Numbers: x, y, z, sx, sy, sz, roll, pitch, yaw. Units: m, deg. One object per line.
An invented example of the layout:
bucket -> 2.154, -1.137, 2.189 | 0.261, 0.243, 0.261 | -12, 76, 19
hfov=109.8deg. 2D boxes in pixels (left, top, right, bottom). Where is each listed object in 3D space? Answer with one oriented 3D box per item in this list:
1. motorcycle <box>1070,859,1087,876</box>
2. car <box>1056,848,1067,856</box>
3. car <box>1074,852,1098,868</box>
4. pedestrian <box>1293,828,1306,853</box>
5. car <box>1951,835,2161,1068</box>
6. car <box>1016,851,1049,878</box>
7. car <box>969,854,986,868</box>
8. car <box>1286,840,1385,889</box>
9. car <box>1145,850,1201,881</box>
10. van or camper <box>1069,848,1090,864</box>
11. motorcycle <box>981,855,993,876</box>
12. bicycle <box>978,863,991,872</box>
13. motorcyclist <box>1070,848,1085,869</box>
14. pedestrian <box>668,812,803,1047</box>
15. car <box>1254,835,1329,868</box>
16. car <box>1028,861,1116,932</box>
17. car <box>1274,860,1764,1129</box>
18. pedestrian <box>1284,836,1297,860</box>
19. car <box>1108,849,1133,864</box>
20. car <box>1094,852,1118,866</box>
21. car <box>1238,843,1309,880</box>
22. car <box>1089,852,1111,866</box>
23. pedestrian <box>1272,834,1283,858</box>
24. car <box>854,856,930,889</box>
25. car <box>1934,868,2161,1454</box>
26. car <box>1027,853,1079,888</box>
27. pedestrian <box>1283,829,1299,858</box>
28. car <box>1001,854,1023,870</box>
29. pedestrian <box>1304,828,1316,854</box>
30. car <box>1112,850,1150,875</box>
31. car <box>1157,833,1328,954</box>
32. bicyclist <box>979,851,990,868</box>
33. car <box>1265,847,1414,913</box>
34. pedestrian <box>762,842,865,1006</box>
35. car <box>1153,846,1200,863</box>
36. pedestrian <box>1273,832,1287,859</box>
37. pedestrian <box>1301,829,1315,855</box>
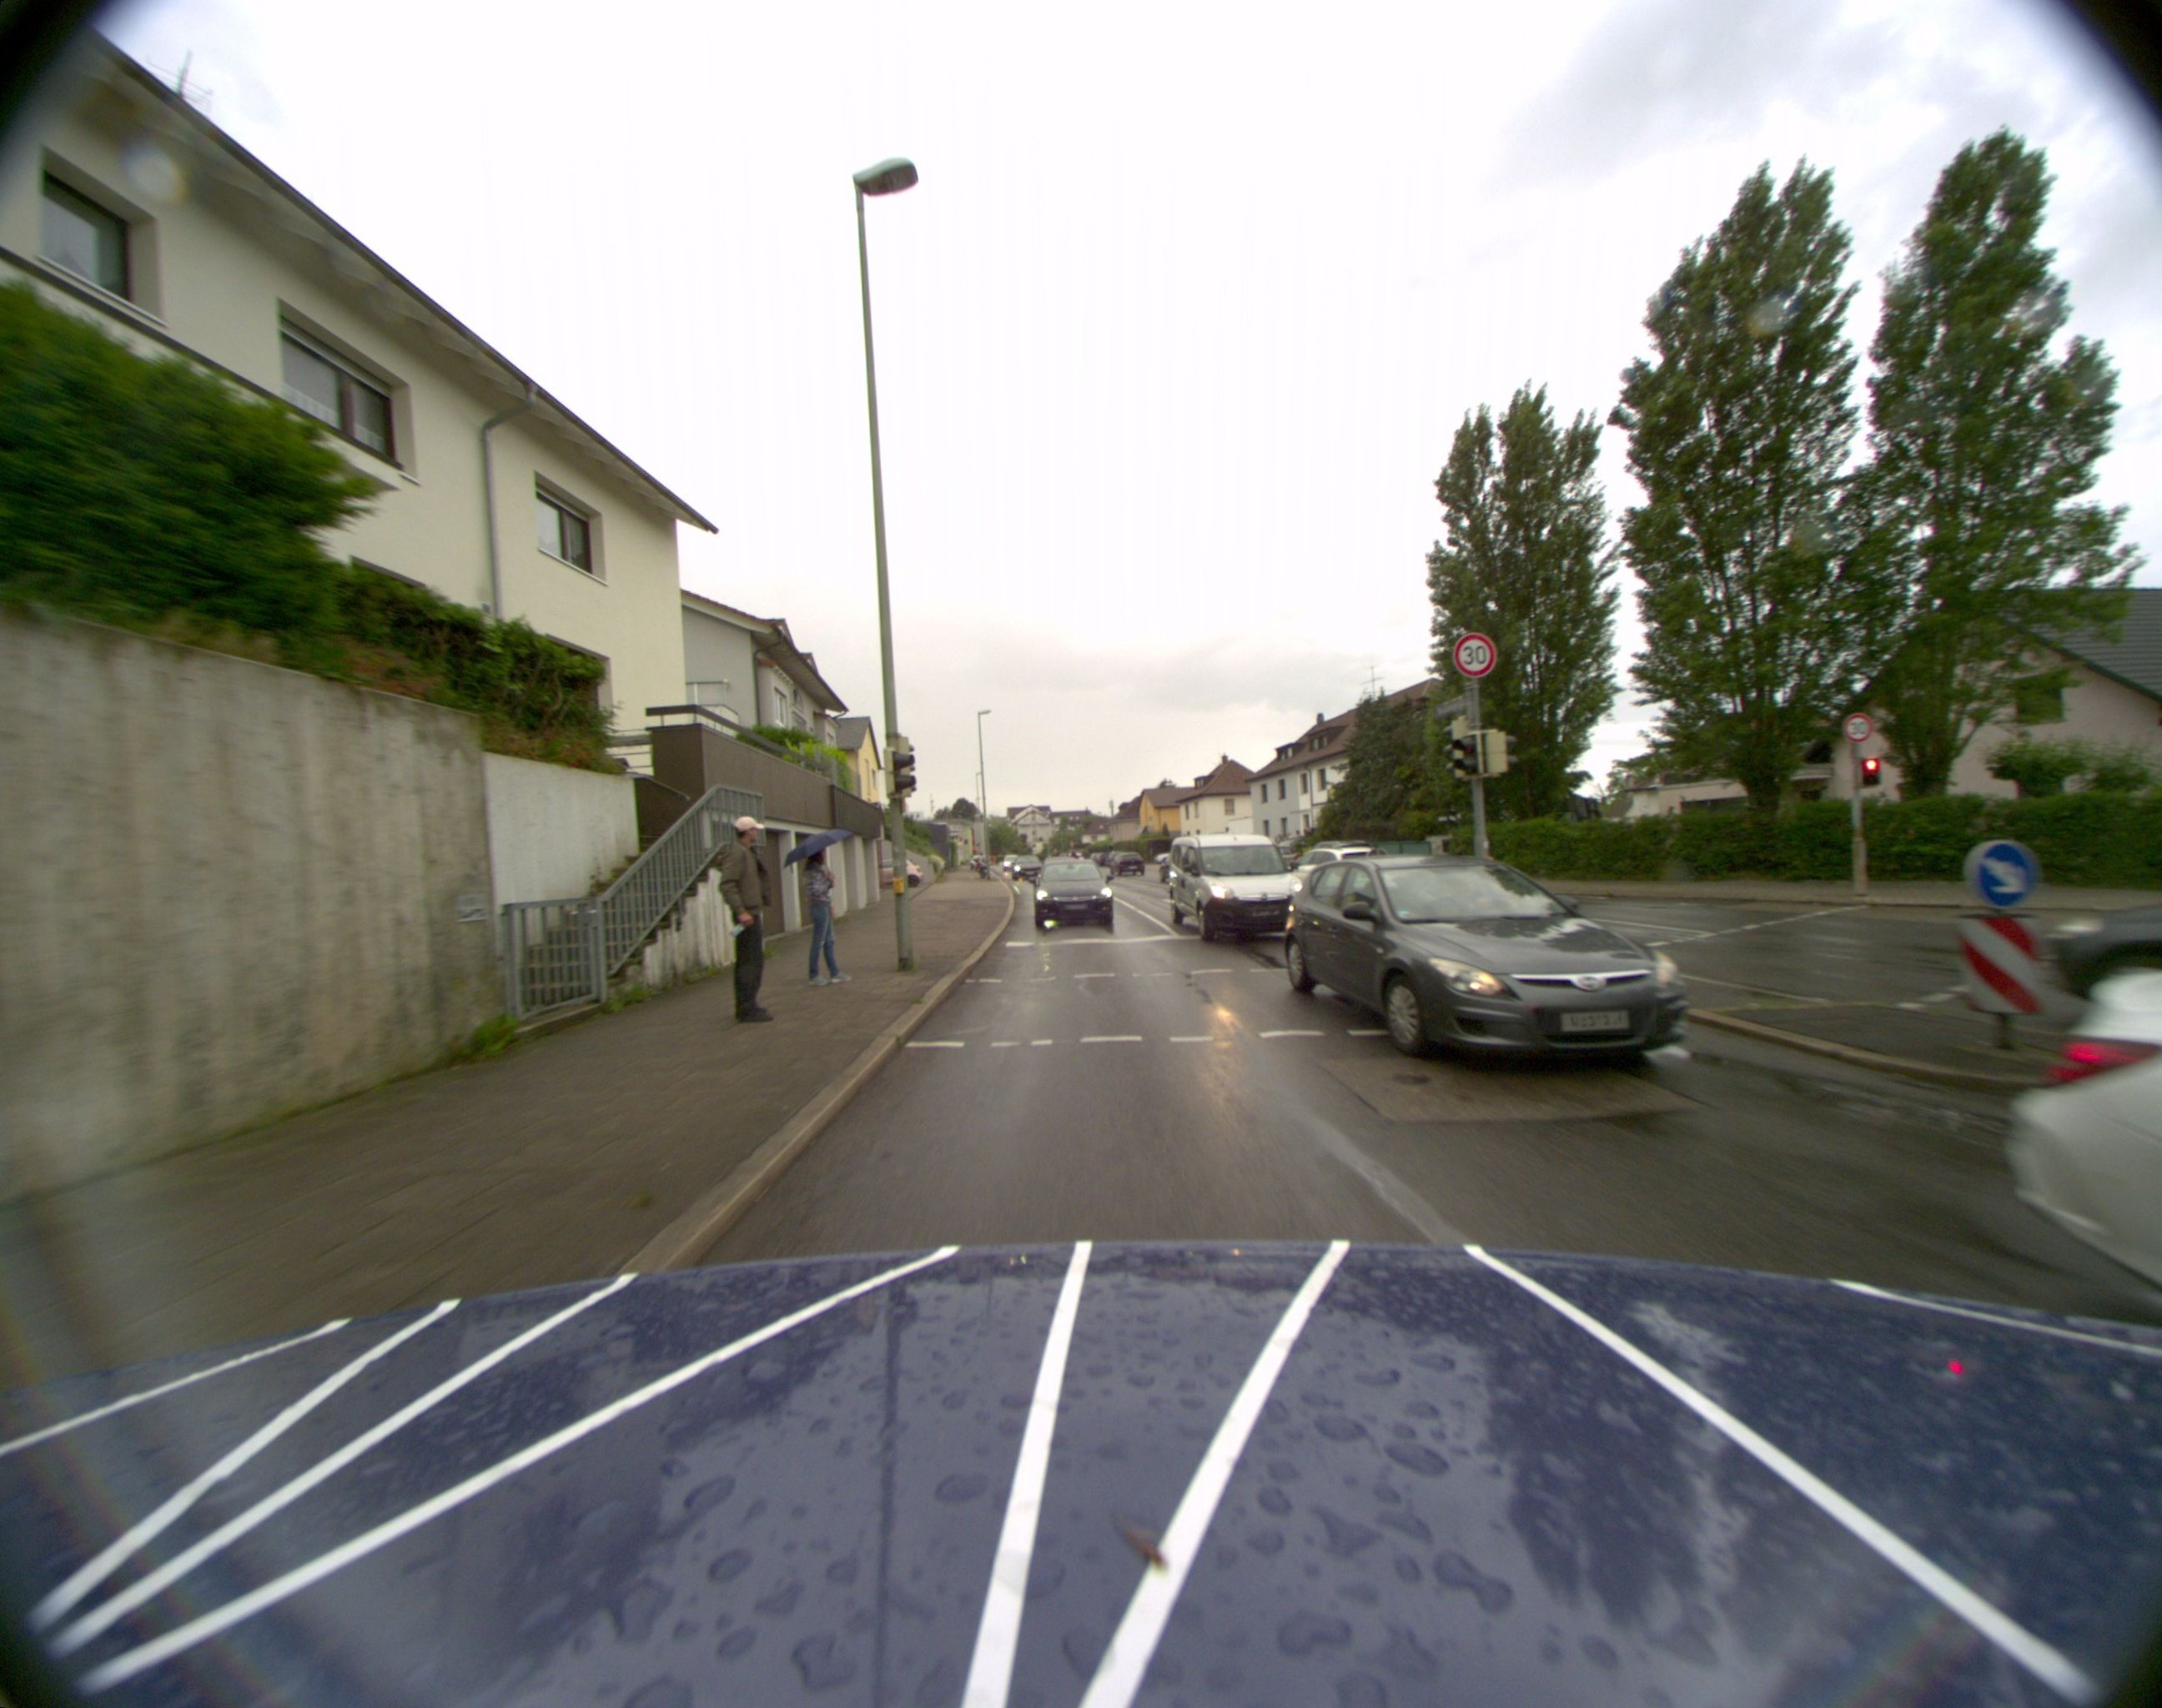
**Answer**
motorcycle -> -0.207, 0.926, 52.724 | 0.944, 1.101, 2.405 | -2, 1, -5
car -> -4.032, -0.520, 158.069 | 2.000, 1.565, 3.997 | -2, 1, -6
car -> 0.482, 0.554, 75.221 | 1.838, 1.521, 3.997 | -2, 0, -6
pedestrian -> 15.287, -0.924, 53.209 | 0.584, 1.661, 0.575 | -6, 1, -9
car -> 8.425, 0.640, 4.412 | 2.000, 1.565, 3.998 | -2, 0, -7
car -> -3.085, 0.716, 48.074 | 1.841, 1.447, 4.000 | -2, -4, -7
car -> -11.438, 0.751, 84.504 | 1.738, 1.481, 3.997 | -2, 0, -6
car -> 9.644, 0.338, 29.244 | 1.810, 1.660, 4.595 | -2, 1, -6
car -> 4.679, 0.583, 39.126 | 1.859, 1.455, 3.997 | -2, 0, -8
van or camper -> -0.217, 0.288, 102.698 | 2.191, 2.002, 5.130 | -2, 1, -8
motorcycle -> -6.209, 0.739, 50.022 | 0.694, 1.317, 2.477 | -2, 0, -8
bicycle -> -9.076, 1.242, 71.489 | 0.733, 0.821, 2.234 | -2, 0, 3
motorcyclist -> -0.243, 0.297, 52.817 | 0.953, 1.413, 0.992 | -2, 1, -5
pedestrian -> -3.121, 0.654, 6.948 | 0.799, 2.002, 0.734 | -2, 1, 0
car -> 13.090, -0.156, 47.412 | 3.999, 1.555, 1.872 | -7, 0, -6
car -> -0.191, 0.917, 18.180 | 1.840, 1.390, 3.999 | -2, 1, 0
car -> 3.134, 0.858, 6.563 | 1.840, 1.478, 4.058 | -2, 0, 0
pedestrian -> 15.119, -0.456, 54.954 | 0.588, 1.698, 0.561 | -6, 1, -9
car -> 3.962, 0.239, 76.255 | 1.810, 1.407, 3.997 | -2, 0, -6
car -> 2.713, 0.547, 82.224 | 1.810, 1.407, 3.996 | -2, 0, -9
car -> 8.884, 0.323, 35.425 | 1.810, 1.559, 4.140 | -2, 1, -6
car -> 2.191, 0.554, 87.474 | 1.810, 1.505, 3.996 | -2, 0, -9
pedestrian -> 14.366, -0.573, 55.549 | 0.447, 1.743, 0.689 | -6, 1, -6
car -> -9.752, 0.928, 39.416 | 3.644, 1.476, 1.811 | -3, 1, -11
car -> 4.046, 0.811, 0.304 | 1.914, 1.519, 4.648 | -2, 0, -7
car -> -1.304, 0.752, 33.456 | 1.911, 1.389, 4.855 | -2, -2, -6
pedestrian -> 14.214, -0.701, 51.396 | 0.734, 1.856, 0.686 | -6, 1, -1
car -> -6.803, 0.770, 74.238 | 1.842, 1.472, 3.997 | -2, -1, -9
pedestrian -> 15.507, -0.884, 51.461 | 0.517, 1.661, 0.512 | -6, 1, -1
car -> 3.241, 0.517, 49.863 | 1.717, 1.494, 3.997 | -2, 1, -7
car -> 2.812, 0.614, 14.422 | 1.957, 1.860, 4.744 | -2, 0, -3
bicyclist -> -9.111, 0.502, 71.505 | 0.809, 1.633, 0.906 | -2, 1, 2
car -> 6.913, 0.616, 20.935 | 1.842, 1.547, 4.766 | -2, 1, -9
pedestrian -> -3.046, 0.755, 8.760 | 0.796, 1.770, 1.011 | -1, 1, 0
car -> 9.180, 0.035, 73.394 | 4.114, 1.475, 1.838 | 2, -1, -14
pedestrian -> 13.618, -0.576, 51.966 | 0.670, 1.778, 0.539 | -6, 1, -3
pedestrian -> 15.037, -0.776, 50.419 | 0.674, 1.661, 0.691 | -5, 1, 23
